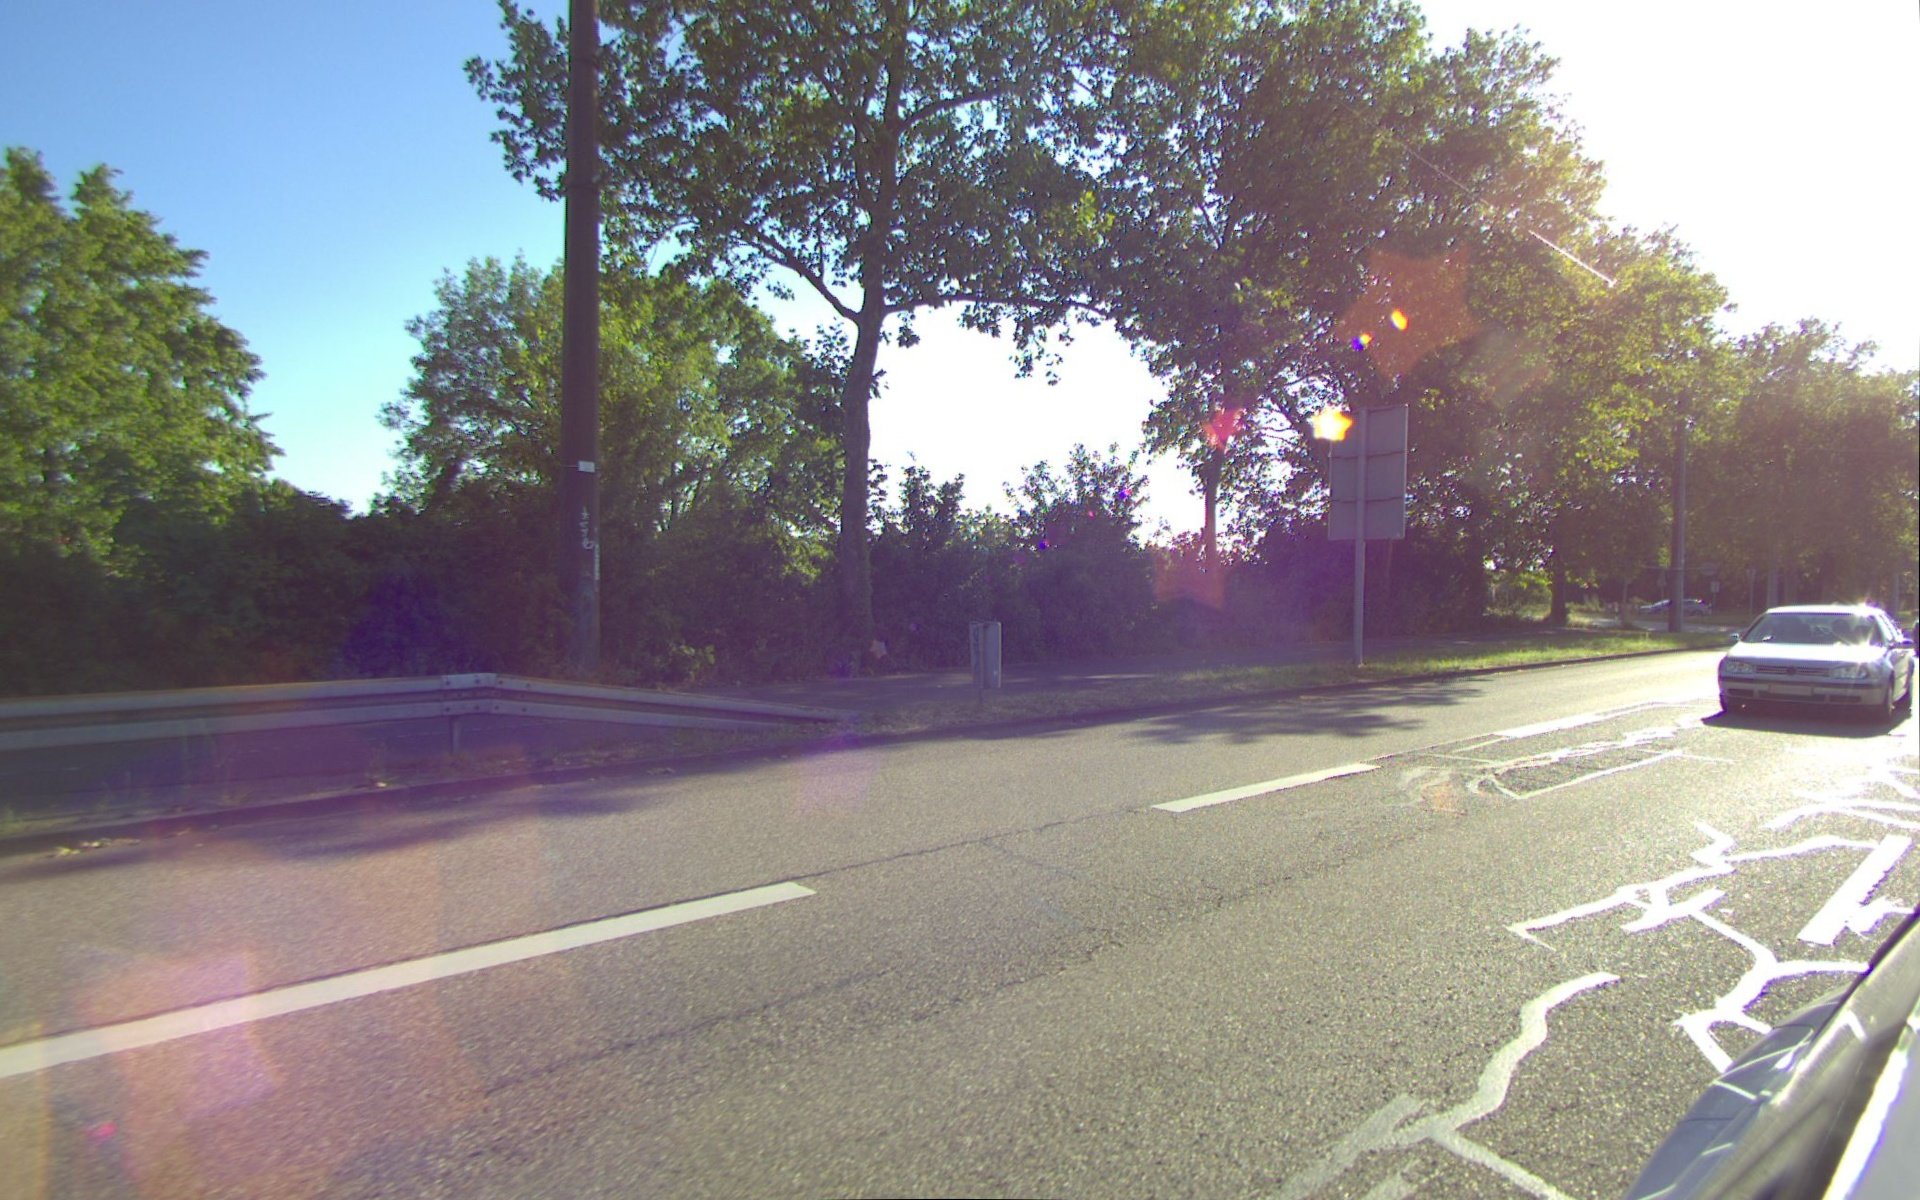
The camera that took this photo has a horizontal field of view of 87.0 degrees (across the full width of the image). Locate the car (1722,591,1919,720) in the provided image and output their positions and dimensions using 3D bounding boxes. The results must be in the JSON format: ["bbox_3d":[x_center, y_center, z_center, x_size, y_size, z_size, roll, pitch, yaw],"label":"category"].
[{"bbox_3d":[11.929,0.624,13.714,3.930,1.463,1.724,-1,1,-40],"label":"car"}]

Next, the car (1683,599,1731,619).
[{"bbox_3d":[57.078,0.664,77.309,4.575,1.461,1.881,-1,1,-38],"label":"car"}]
